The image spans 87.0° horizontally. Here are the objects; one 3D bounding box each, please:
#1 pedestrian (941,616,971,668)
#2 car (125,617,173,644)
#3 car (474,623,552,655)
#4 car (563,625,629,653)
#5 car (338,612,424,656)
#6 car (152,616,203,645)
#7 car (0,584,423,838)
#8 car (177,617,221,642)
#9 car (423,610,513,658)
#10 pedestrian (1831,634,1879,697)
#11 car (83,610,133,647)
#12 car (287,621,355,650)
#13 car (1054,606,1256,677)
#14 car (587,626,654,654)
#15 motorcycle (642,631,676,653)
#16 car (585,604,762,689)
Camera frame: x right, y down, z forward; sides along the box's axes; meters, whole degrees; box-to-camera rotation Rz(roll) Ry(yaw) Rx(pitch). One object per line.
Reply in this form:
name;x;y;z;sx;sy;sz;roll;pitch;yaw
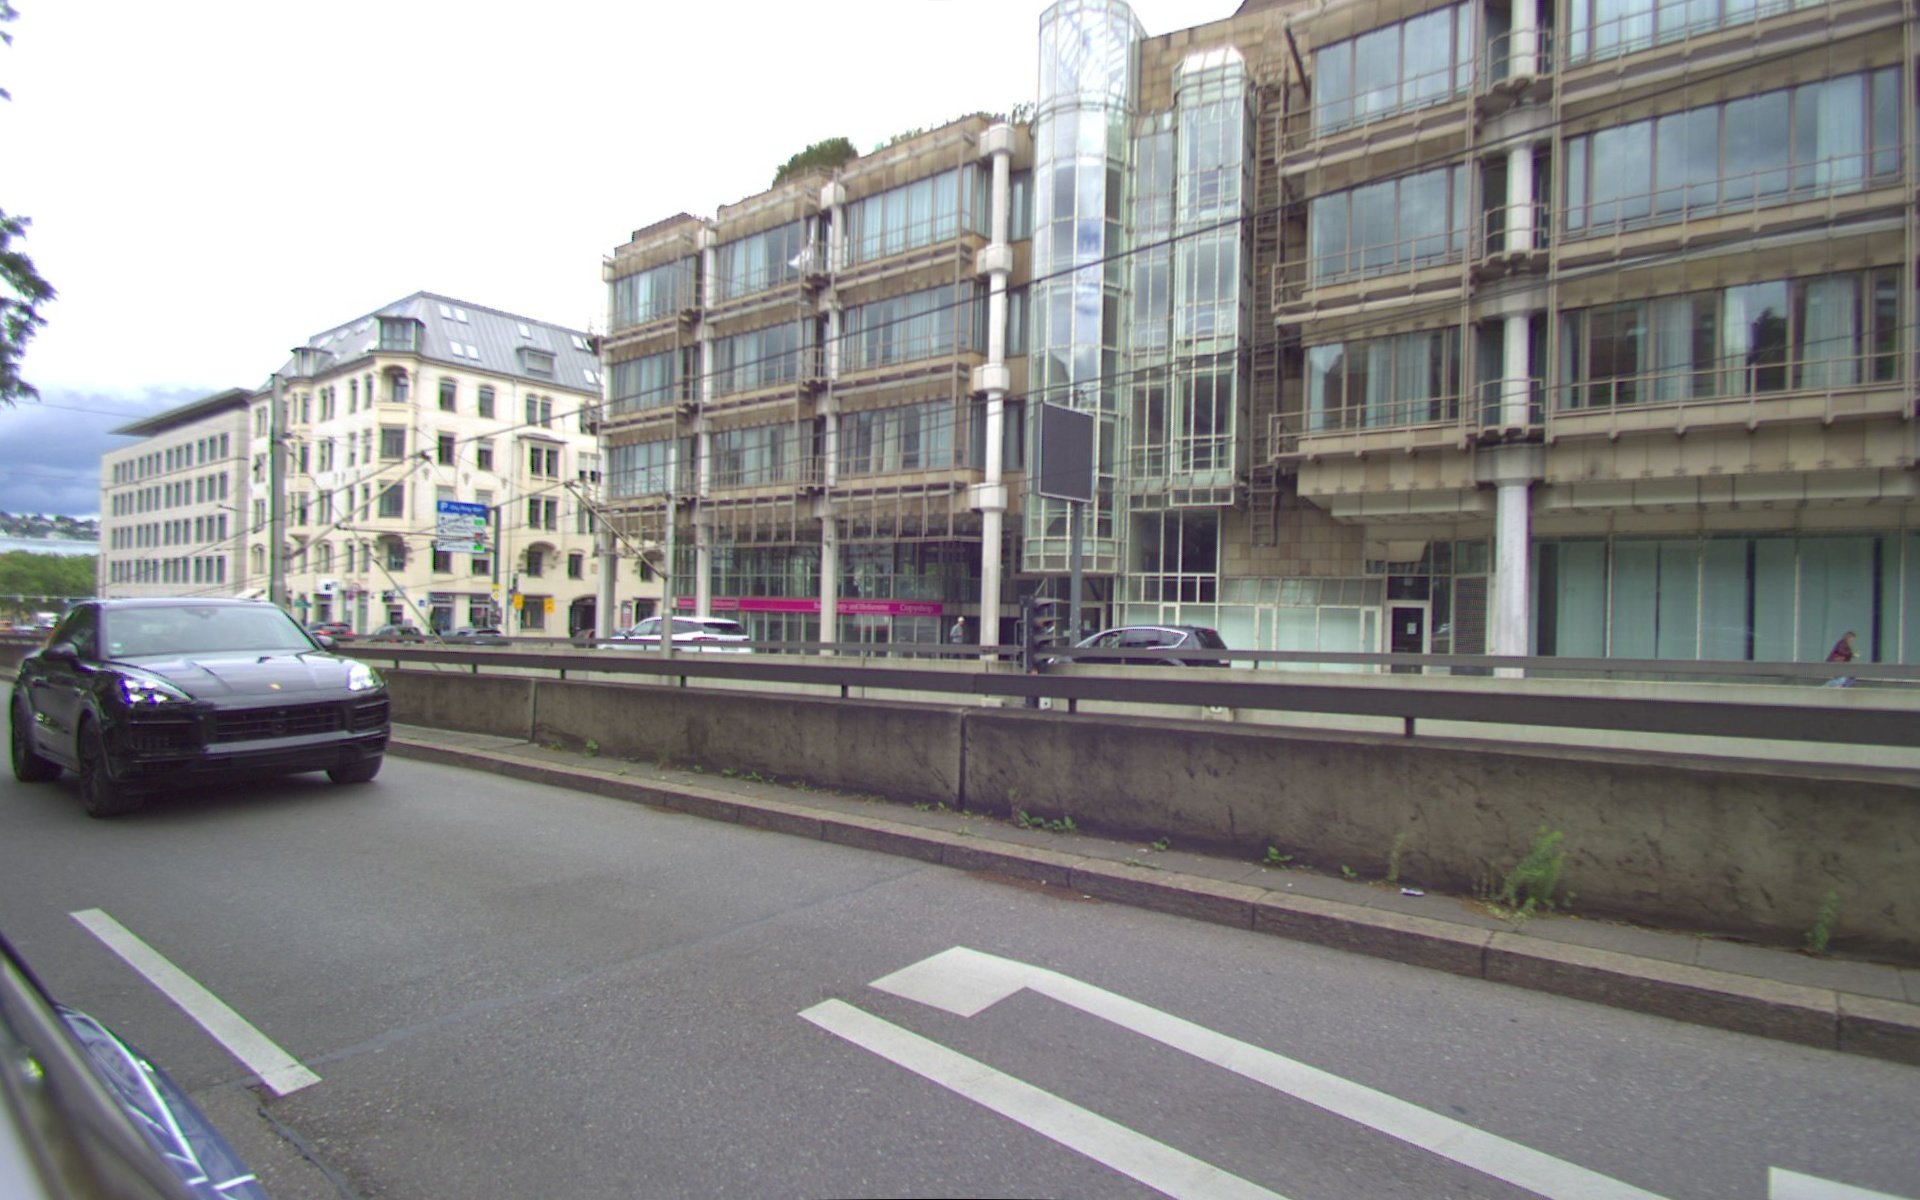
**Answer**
pedestrian;-0.145;1.473;35.750;0.739;1.806;0.723;-1;0;40
car;-63.369;2.330;79.019;4.785;2.029;1.974;-1;0;39
car;-24.647;2.137;55.838;1.647;1.674;3.605;-1;-2;36
car;-22.408;2.400;62.386;1.647;1.674;3.556;-1;-2;36
car;-29.008;1.646;50.645;4.784;1.977;1.975;-1;3;38
car;-58.332;2.242;75.413;4.785;2.029;1.974;-1;0;39
car;-7.141;0.786;9.222;5.346;1.688;2.062;-2;-1;39
car;-62.315;2.391;82.887;3.996;2.029;1.974;-1;-2;39
car;-21.844;1.449;44.880;4.375;1.929;1.974;0;1;39
pedestrian;19.253;1.392;21.780;0.739;1.275;0.723;-1;0;40
car;-73.533;2.410;87.361;5.464;3.083;2.341;-1;0;39
car;-35.993;1.961;56.977;4.636;1.572;1.796;-1;-2;38
car;4.469;0.927;23.614;4.411;1.512;1.646;-1;-2;41
car;-20.487;2.398;61.240;1.647;1.674;3.556;-1;-2;36
motorcycle;-15.723;2.185;52.928;1.660;1.083;0.640;-1;0;20
car;-7.252;1.097;25.400;4.597;1.856;1.817;-1;2;37
